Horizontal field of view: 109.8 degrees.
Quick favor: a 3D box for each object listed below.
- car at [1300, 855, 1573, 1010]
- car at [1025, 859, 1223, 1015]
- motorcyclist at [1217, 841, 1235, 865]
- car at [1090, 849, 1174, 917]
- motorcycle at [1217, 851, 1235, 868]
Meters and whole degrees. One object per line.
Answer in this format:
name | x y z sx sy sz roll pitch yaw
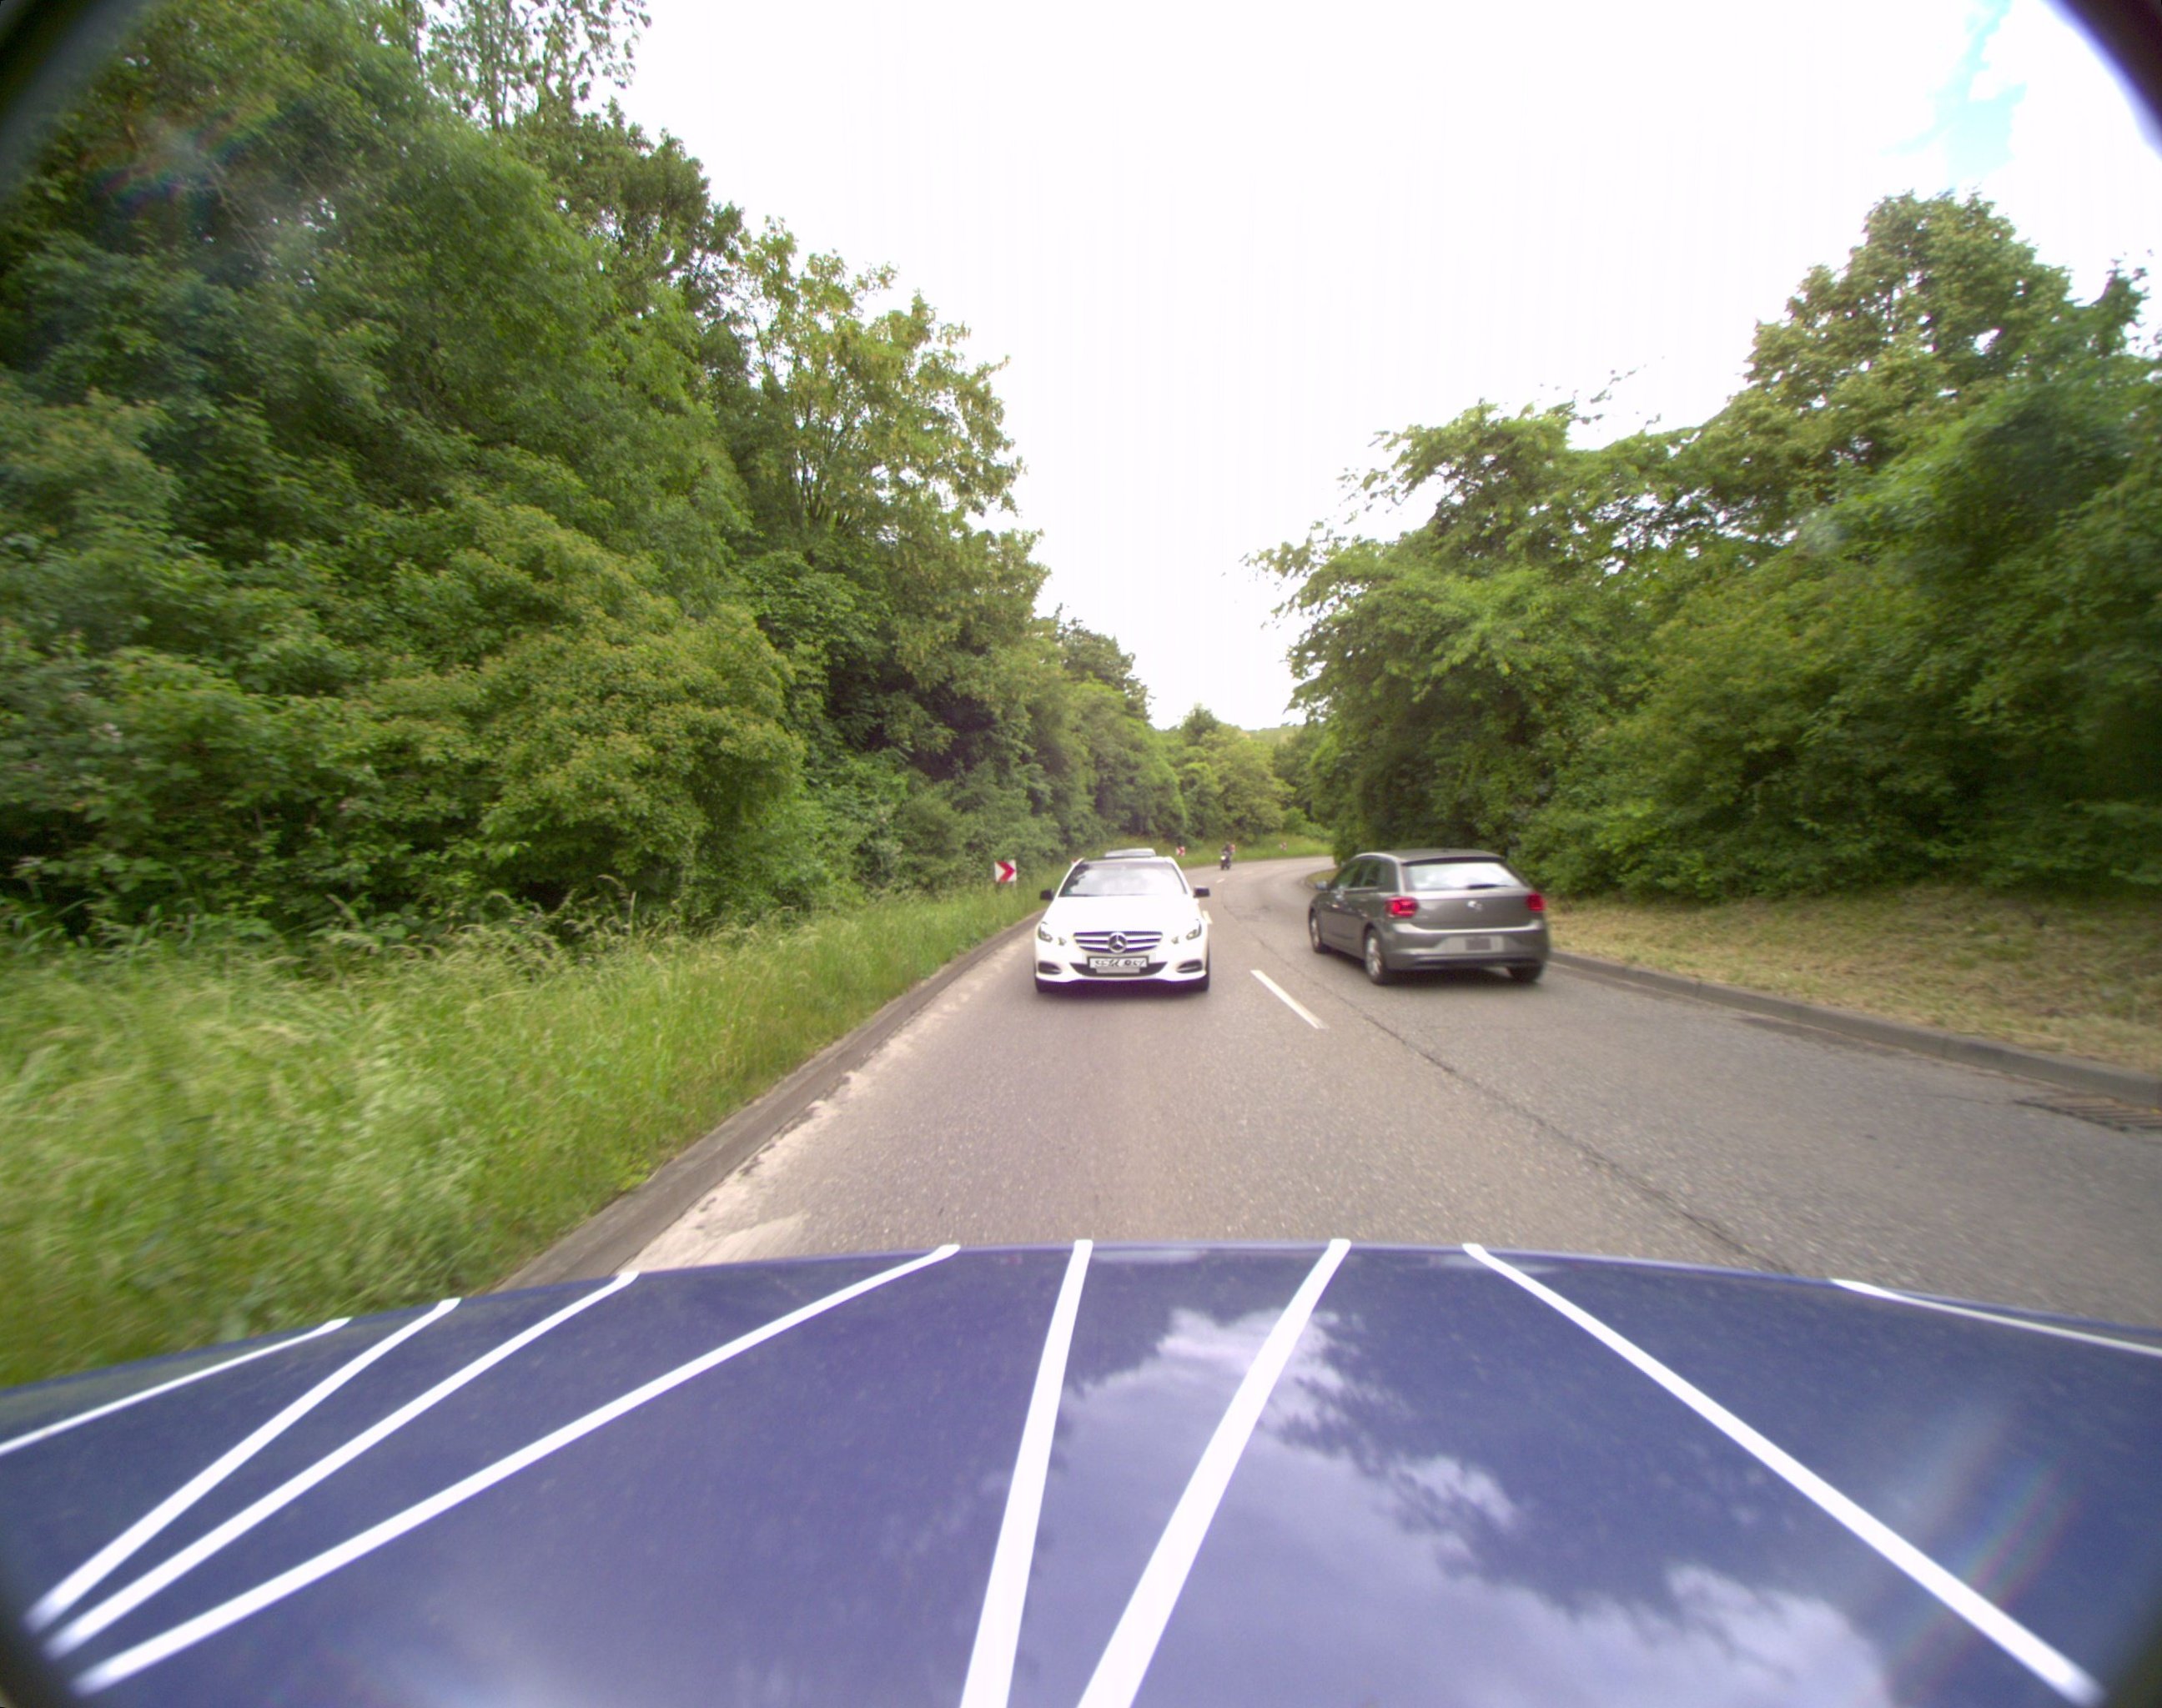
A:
car | 3.906 0.756 9.042 1.637 1.397 3.597 -2 1 2
car | 0.573 0.828 9.363 1.886 1.414 4.001 -1 1 5
motorcyclist | 8.808 -0.065 46.142 0.817 1.457 0.788 2 2 24
car | 1.429 0.685 19.705 1.821 1.536 3.728 -2 1 9
motorcycle | 8.800 0.329 46.188 0.701 0.970 1.697 2 2 23
